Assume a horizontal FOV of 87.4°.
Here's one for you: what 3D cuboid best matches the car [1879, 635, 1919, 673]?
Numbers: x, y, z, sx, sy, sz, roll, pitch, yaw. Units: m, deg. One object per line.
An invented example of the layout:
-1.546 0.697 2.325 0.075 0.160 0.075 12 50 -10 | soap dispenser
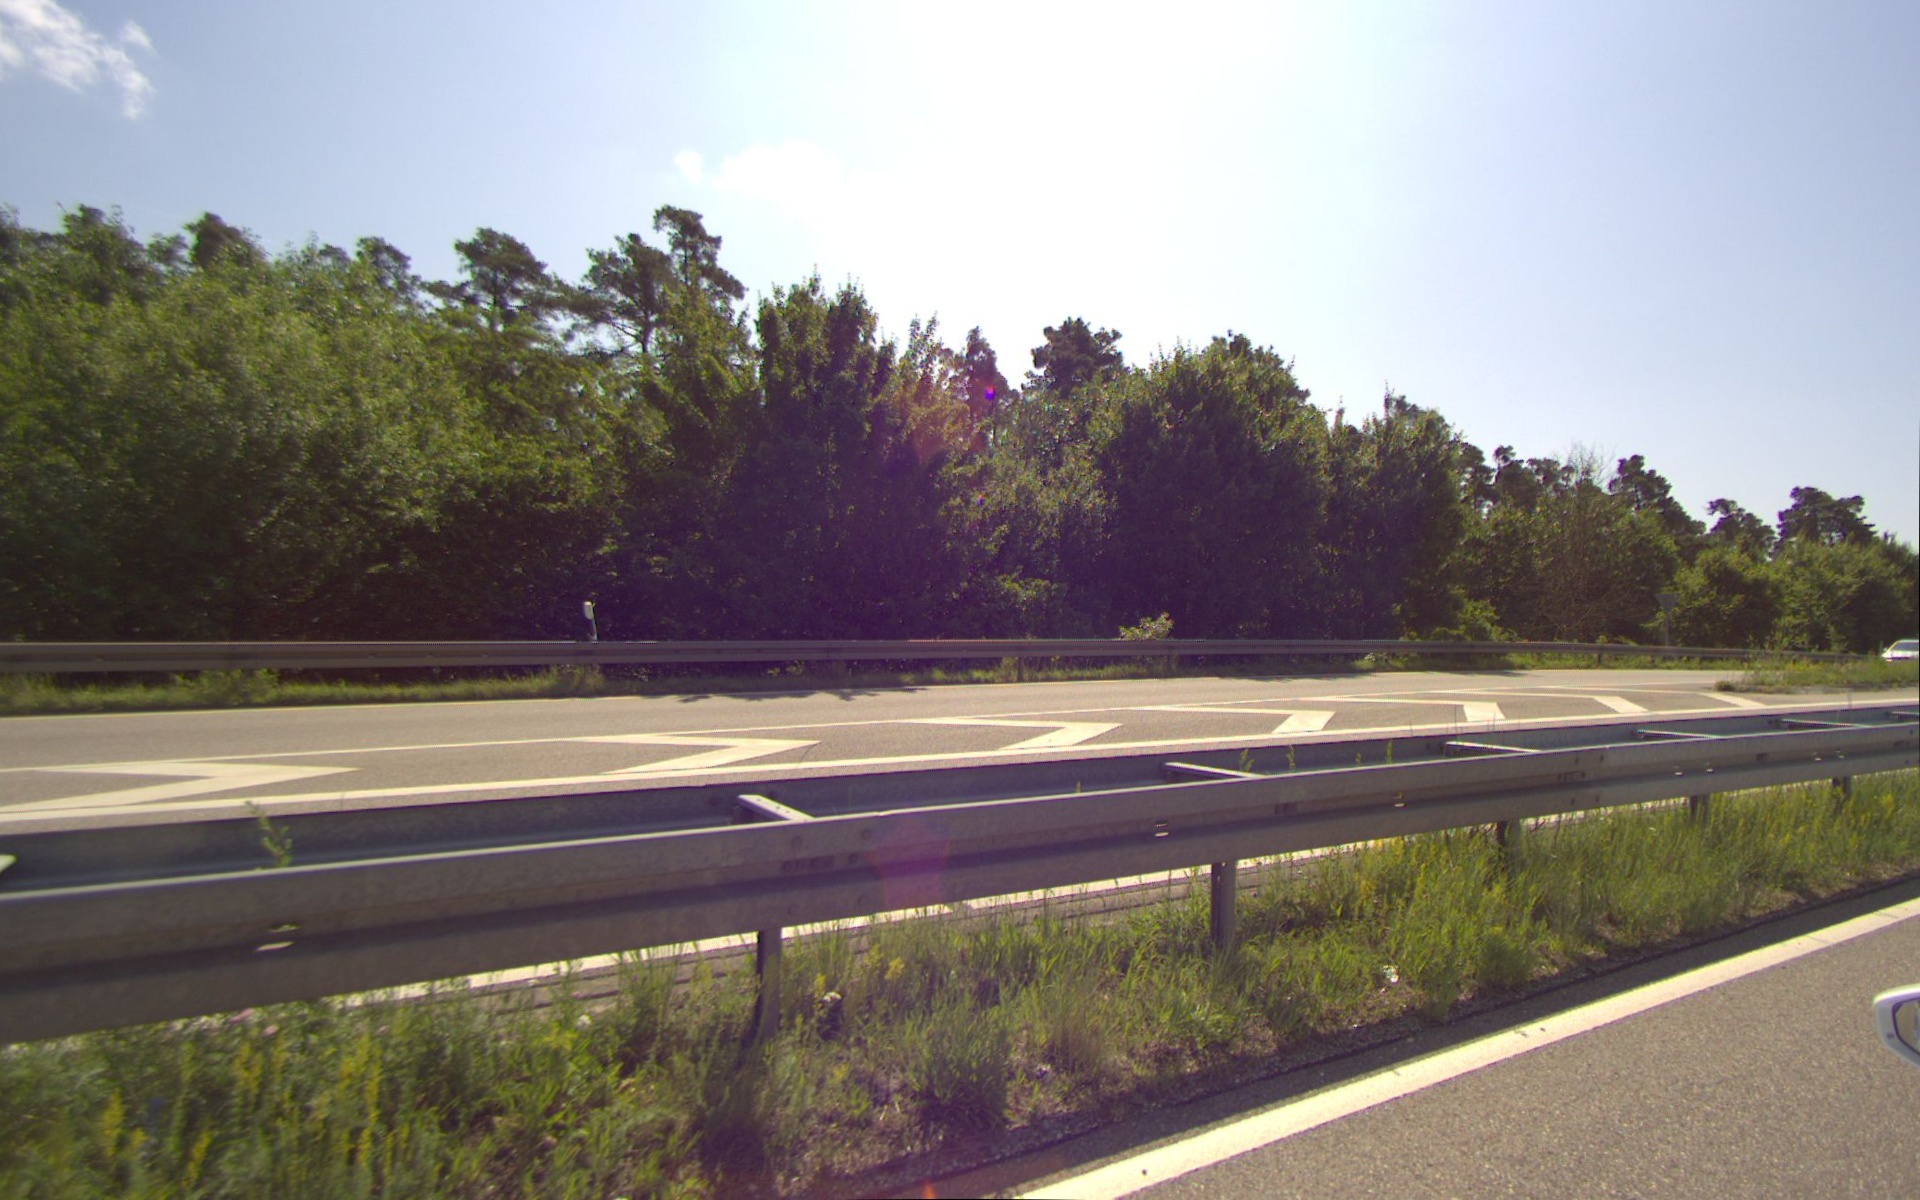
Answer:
38.923 2.165 40.614 4.168 1.447 1.668 1 0 -34 | car
